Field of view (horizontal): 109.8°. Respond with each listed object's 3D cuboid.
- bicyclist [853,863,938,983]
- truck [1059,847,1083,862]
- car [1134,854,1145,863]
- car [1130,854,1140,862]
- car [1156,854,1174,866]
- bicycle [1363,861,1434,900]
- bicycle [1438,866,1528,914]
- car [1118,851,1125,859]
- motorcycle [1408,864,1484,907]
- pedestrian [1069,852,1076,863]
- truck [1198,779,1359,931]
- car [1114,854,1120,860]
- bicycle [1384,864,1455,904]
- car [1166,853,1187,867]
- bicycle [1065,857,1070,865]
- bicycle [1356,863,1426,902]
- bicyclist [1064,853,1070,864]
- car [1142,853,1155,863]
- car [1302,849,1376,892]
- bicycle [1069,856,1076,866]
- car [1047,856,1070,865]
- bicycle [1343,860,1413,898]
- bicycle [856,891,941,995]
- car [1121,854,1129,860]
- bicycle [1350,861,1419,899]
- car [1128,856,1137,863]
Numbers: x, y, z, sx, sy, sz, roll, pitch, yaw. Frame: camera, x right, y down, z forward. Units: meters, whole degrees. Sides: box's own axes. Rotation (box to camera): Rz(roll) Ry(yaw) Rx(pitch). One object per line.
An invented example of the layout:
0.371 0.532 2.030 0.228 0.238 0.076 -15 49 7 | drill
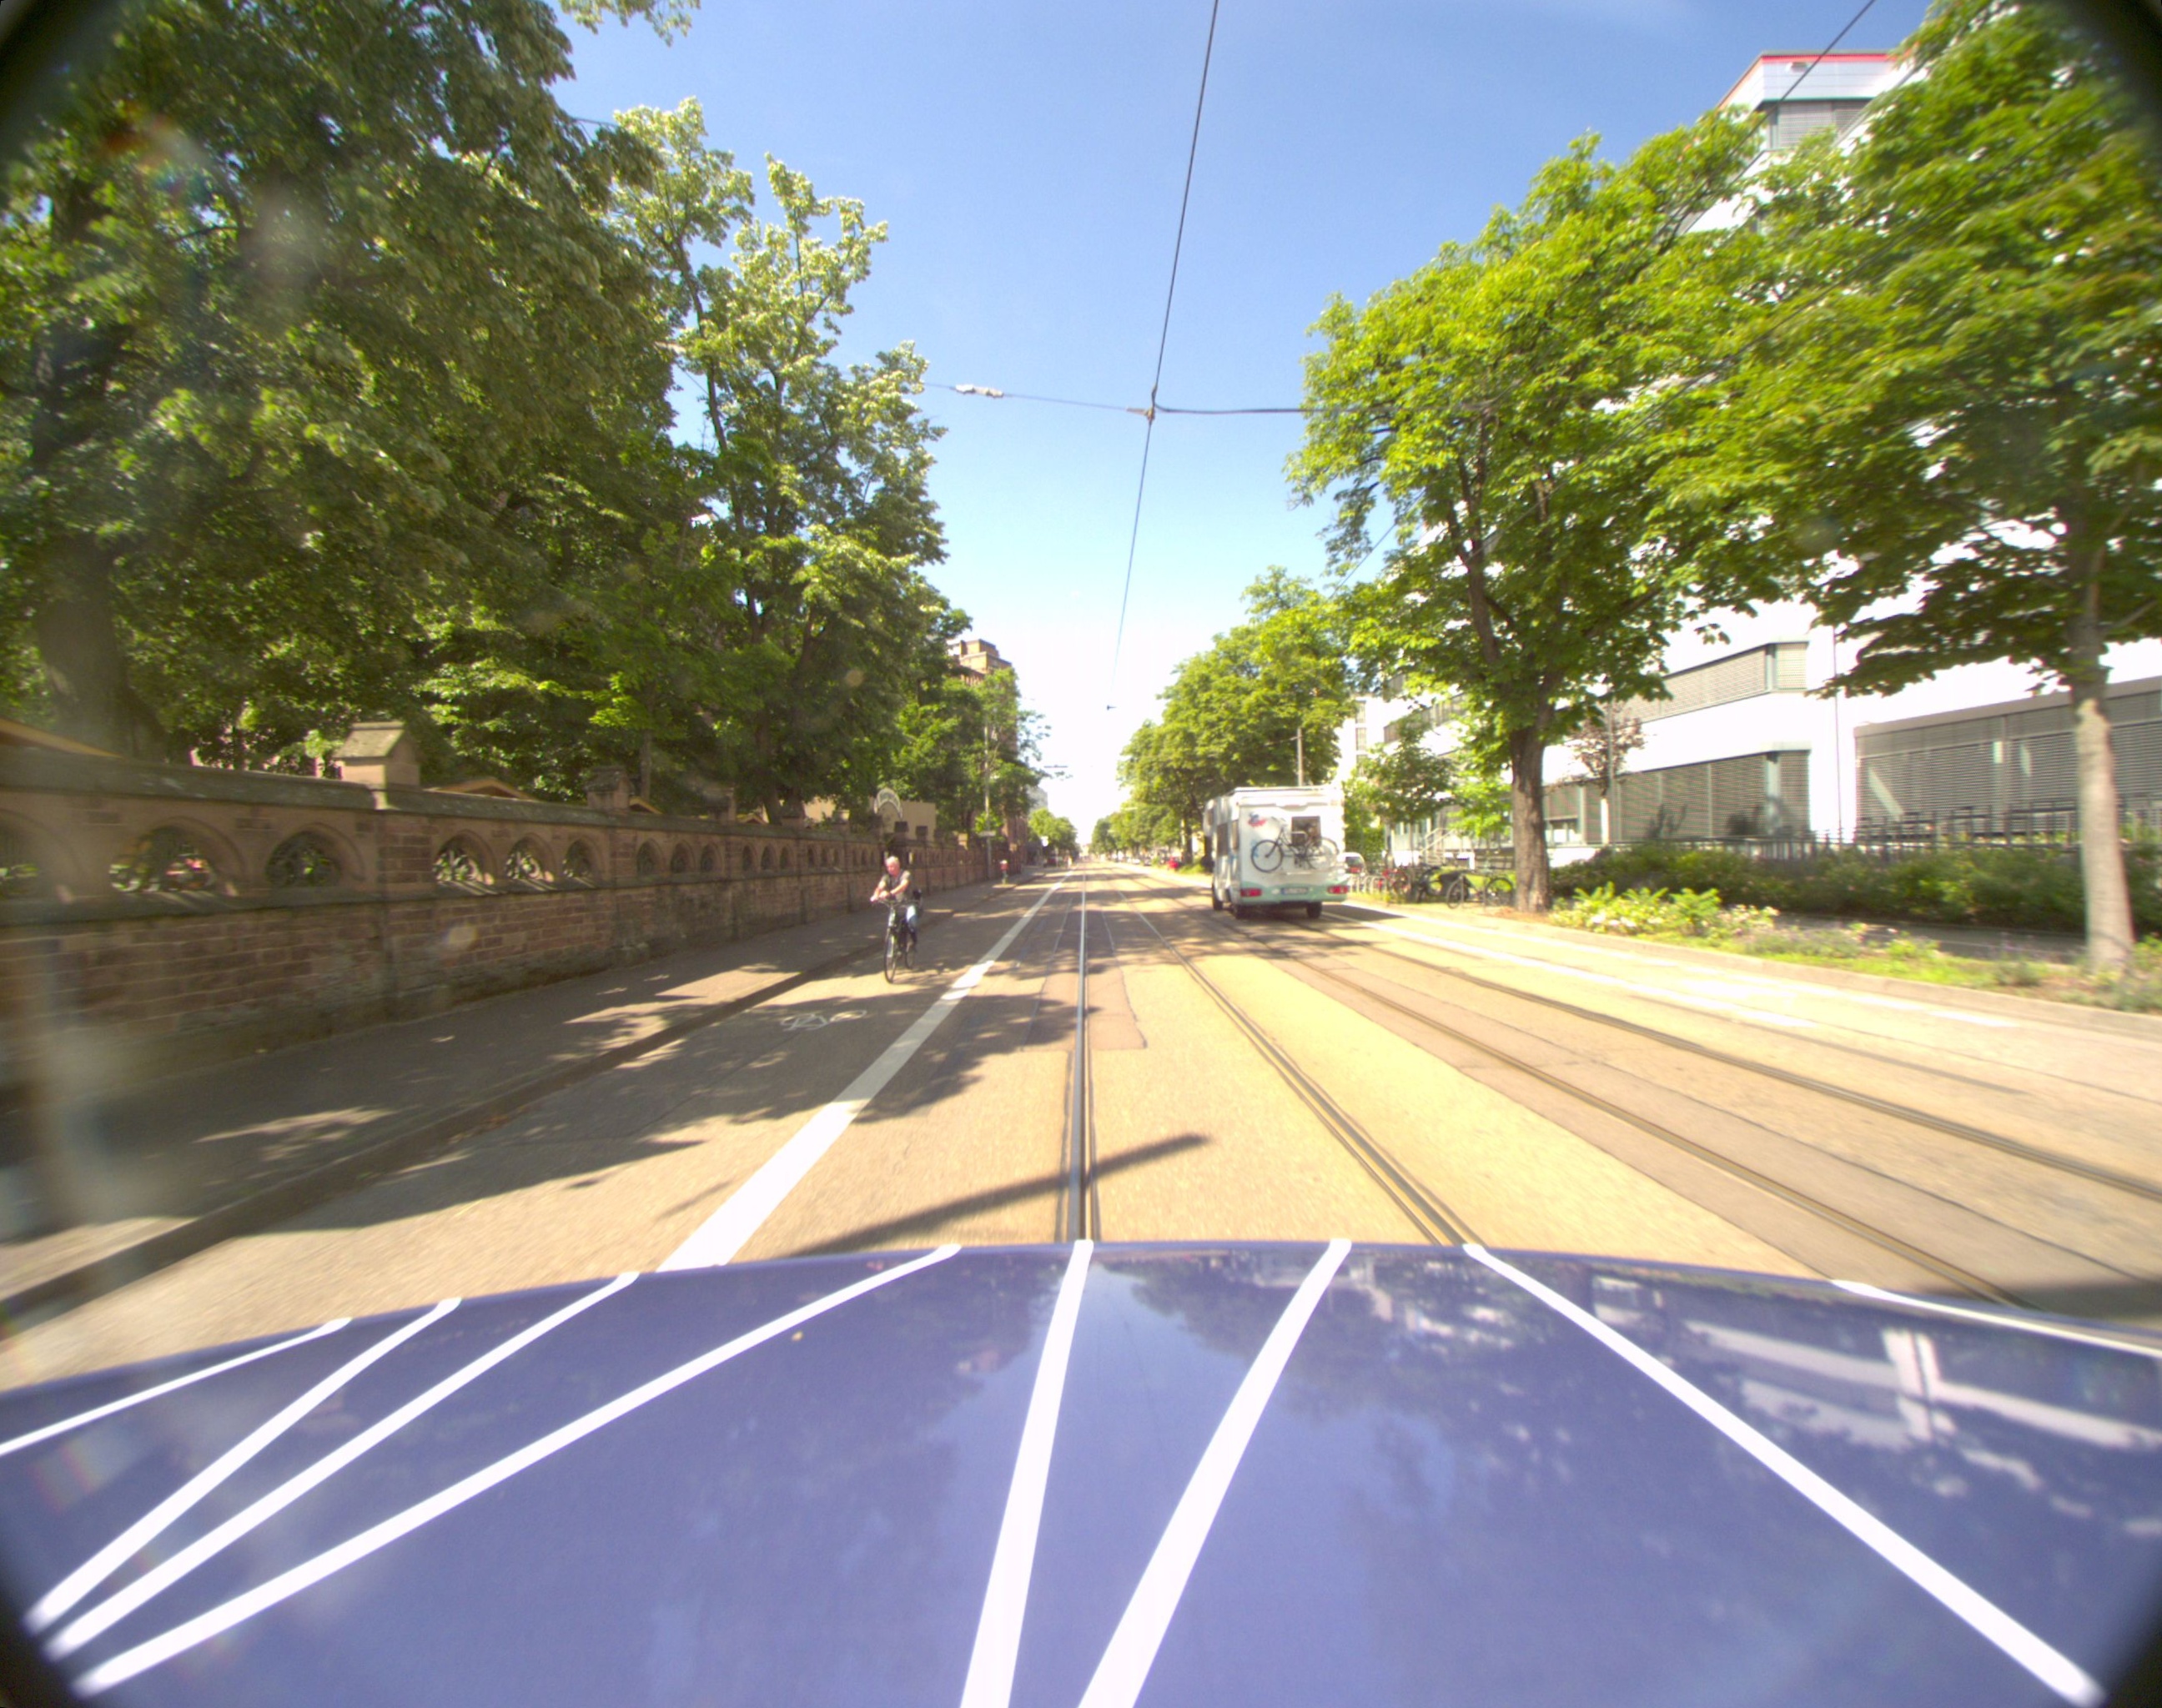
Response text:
-2.598 0.938 10.731 0.905 1.586 0.964 -2 0 0 | bicyclist
-2.776 0.050 209.448 2.815 3.836 10.016 -1 0 23 | truck
9.969 0.728 129.626 1.634 1.463 4.114 -2 0 1 | car
10.167 0.702 142.060 1.634 1.463 4.114 -2 0 1 | car
9.955 0.750 90.406 1.634 1.347 3.901 -2 0 -1 | car
9.520 0.794 22.813 1.797 1.080 0.726 -2 0 0 | bicycle
9.668 0.862 18.313 1.728 1.080 0.789 -2 0 0 | bicycle
10.391 0.211 195.760 1.634 1.936 4.114 -2 0 1 | car
9.839 0.843 20.524 1.728 1.080 0.658 -2 0 0 | motorcycle
-1.586 0.623 135.799 1.106 2.002 1.166 -3 1 0 | pedestrian
4.517 0.024 18.603 2.408 3.090 6.037 -1 0 1 | truck
10.181 0.930 216.615 1.634 1.560 4.114 -2 0 1 | car
9.756 0.858 21.925 1.728 1.080 0.639 -2 0 0 | bicycle
10.076 0.621 80.437 1.634 1.463 3.719 -2 0 -1 | car
-1.994 1.026 110.293 0.593 1.099 2.054 -2 0 2 | bicycle
9.507 0.866 23.343 1.853 1.125 0.680 -2 0 0 | bicycle
-1.992 0.683 110.258 0.742 1.522 0.947 -1 0 1 | bicyclist
9.970 0.611 111.906 1.634 1.463 4.114 -2 0 1 | car
9.635 0.583 28.635 1.634 1.463 3.631 -2 0 2 | car
-1.516 1.226 135.589 0.999 1.734 3.163 -3 0 1 | bicycle
-4.350 1.244 147.532 4.007 1.800 1.885 -1 0 -36 | car
9.628 0.795 24.667 1.909 1.162 0.819 -2 0 0 | bicycle
-2.546 1.195 10.838 0.611 1.190 2.123 -4 0 0 | bicycle
10.021 0.683 174.699 1.634 1.463 4.114 -2 0 1 | car
9.583 0.816 24.020 1.877 1.135 0.686 -2 0 0 | bicycle
10.487 1.150 154.706 1.634 1.463 4.114 -2 0 1 | car
